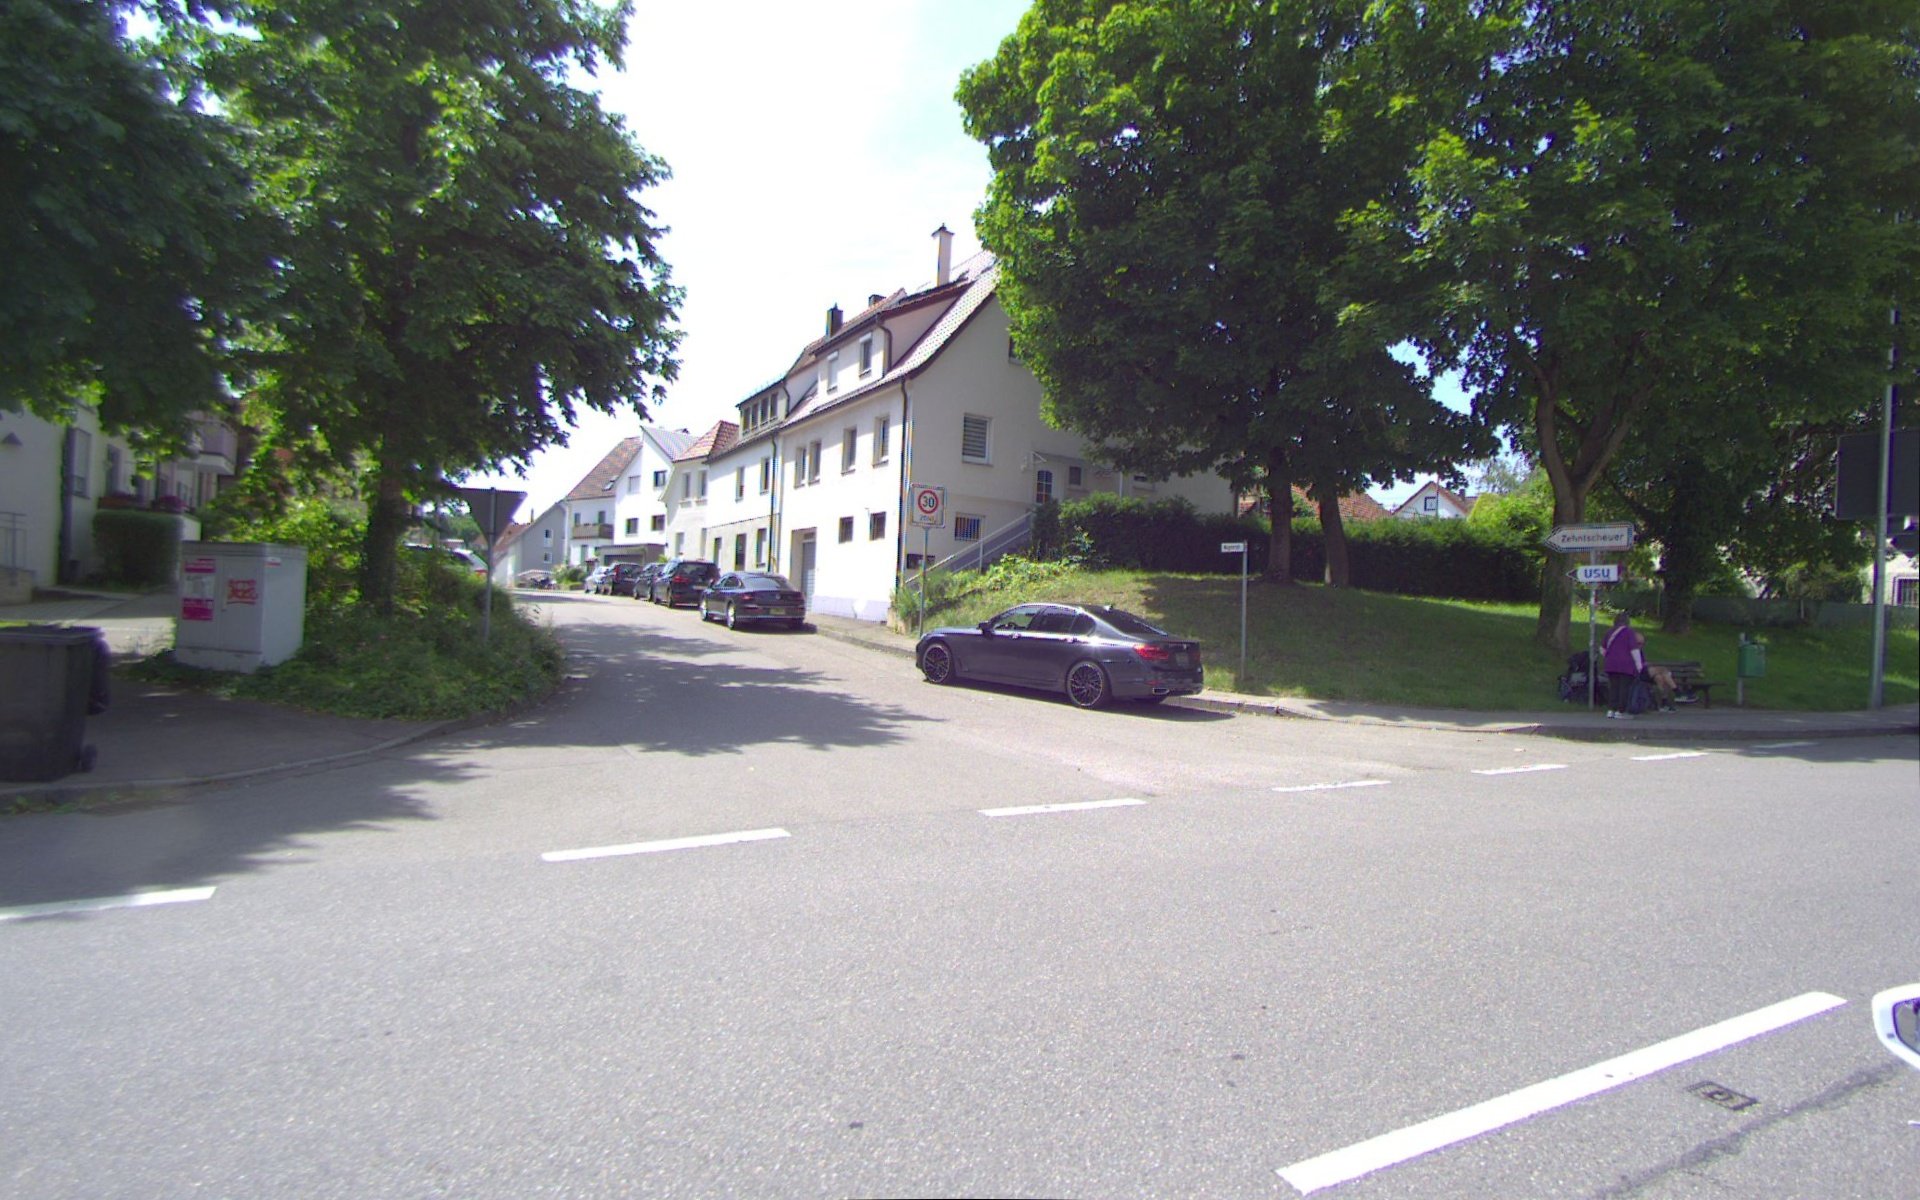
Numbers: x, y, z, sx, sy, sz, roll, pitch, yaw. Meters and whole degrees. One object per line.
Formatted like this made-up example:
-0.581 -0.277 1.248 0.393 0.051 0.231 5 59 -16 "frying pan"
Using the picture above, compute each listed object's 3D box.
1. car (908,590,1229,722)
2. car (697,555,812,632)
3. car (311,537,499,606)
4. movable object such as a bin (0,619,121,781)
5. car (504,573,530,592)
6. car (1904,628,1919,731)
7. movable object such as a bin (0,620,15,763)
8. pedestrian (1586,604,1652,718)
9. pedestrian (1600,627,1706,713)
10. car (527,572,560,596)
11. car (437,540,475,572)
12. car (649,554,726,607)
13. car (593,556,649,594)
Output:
1.589 0.760 15.908 4.719 1.499 1.990 5 2 41 "car"
-5.354 -0.221 25.806 1.884 1.707 3.971 0 4 -27 "car"
-14.290 -0.694 26.006 4.099 1.588 1.983 1 0 -31 "car"
-6.475 0.689 7.132 0.601 1.013 0.768 4 2 -28 "movable object such as a bin"
-41.778 -1.660 94.710 1.975 1.588 3.971 2 3 -27 "car"
16.074 1.167 15.065 4.314 1.486 1.745 1 -2 -32 "car"
-7.033 0.668 6.879 0.602 1.013 0.768 3 2 -29 "movable object such as a bin"
9.955 0.899 15.172 0.721 1.638 0.626 2 1 39 "pedestrian"
11.300 1.116 16.413 0.638 1.286 1.231 2 1 -27 "pedestrian"
-31.686 -1.247 76.312 1.975 1.588 3.971 2 3 -27 "car"
-34.053 -2.979 67.820 1.977 1.971 4.322 3 1 -31 "car"
-9.469 -0.713 34.745 1.751 1.669 3.970 0 3 -28 "car"
-16.147 -1.207 47.734 1.974 1.588 3.971 1 3 -27 "car"
